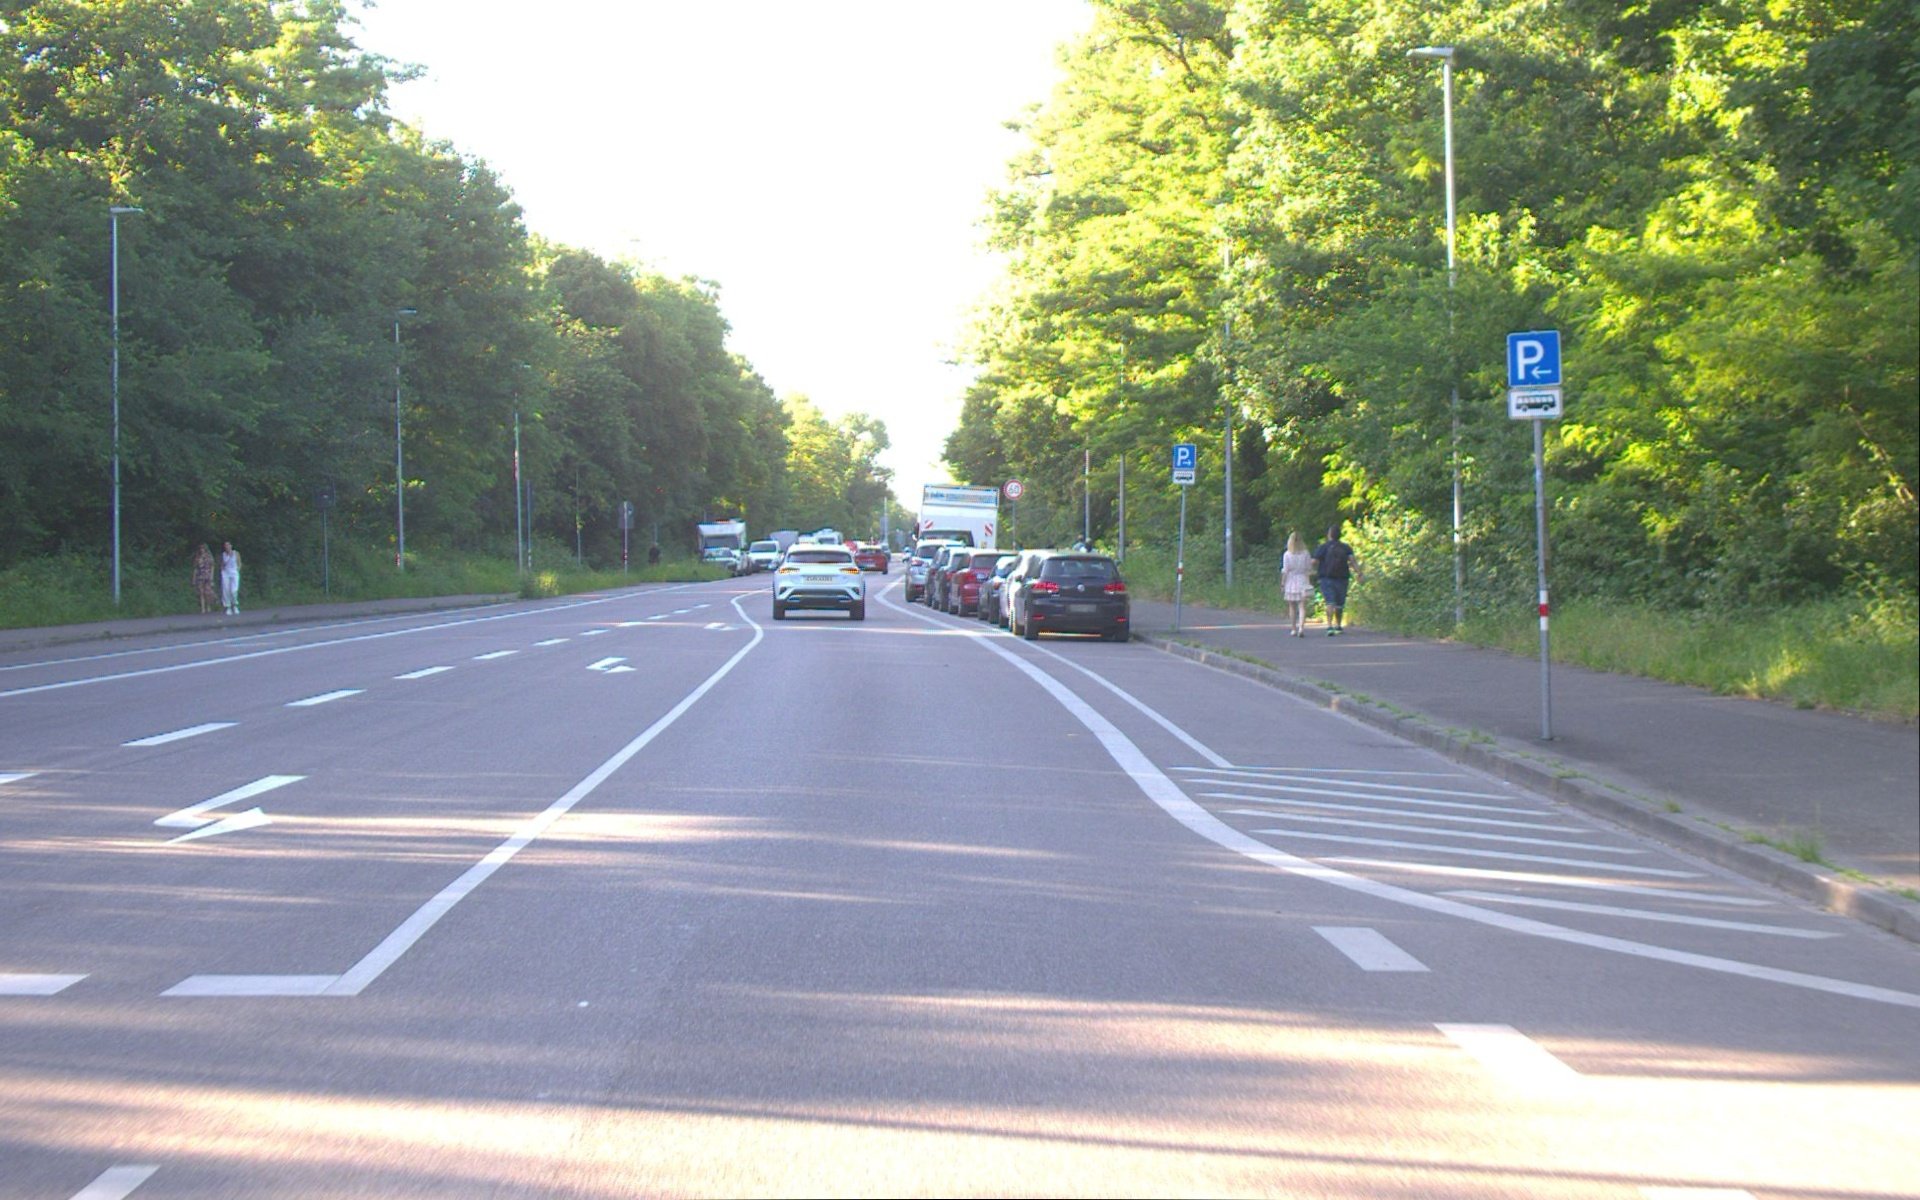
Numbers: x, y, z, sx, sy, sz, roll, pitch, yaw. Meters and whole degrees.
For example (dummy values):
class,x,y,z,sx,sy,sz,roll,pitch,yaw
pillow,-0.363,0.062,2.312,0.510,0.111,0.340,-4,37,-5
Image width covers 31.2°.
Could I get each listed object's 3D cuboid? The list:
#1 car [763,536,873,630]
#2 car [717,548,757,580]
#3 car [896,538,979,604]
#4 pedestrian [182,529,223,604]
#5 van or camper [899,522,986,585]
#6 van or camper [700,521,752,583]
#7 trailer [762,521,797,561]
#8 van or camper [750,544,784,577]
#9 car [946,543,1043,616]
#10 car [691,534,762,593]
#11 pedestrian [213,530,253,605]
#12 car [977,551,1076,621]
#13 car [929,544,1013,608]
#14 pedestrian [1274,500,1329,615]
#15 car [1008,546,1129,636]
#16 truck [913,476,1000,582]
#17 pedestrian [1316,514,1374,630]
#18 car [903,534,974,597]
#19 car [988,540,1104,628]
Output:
class,x,y,z,sx,sy,sz,roll,pitch,yaw
car,-2.824,-0.363,69.015,2.029,1.834,4.029,0,1,0
car,-10.644,-1.752,164.317,1.827,1.471,4.682,-1,1,-3
car,-0.581,-0.733,84.896,1.807,1.514,4.505,2,1,-3
pedestrian,-16.667,-0.738,75.644,0.675,1.647,0.790,0,1,4
van or camper,-0.746,-2.128,155.234,2.442,2.790,6.553,0,1,13
van or camper,-11.668,-2.411,171.794,2.314,2.960,7.112,-2,1,-2
trailer,-11.964,-3.892,227.915,1.993,2.589,4.416,-2,1,0
van or camper,-11.505,-2.354,205.133,1.835,1.905,4.856,-1,1,-1
car,0.719,-0.464,74.090,1.616,1.464,3.725,2,1,-6
car,-6.427,-1.036,95.076,1.807,1.514,4.505,2,1,-3
pedestrian,-15.987,-0.717,75.592,0.675,1.647,0.790,0,1,4
car,1.288,-0.297,68.207,1.628,1.315,3.841,1,1,-4
car,0.235,-0.576,79.618,1.594,1.396,3.799,1,1,-5
pedestrian,5.406,-0.672,54.417,0.674,1.793,0.790,-2,1,-6
car,1.808,-0.182,58.392,1.656,1.447,4.021,0,1,-4
truck,-0.183,-2.429,117.876,2.832,3.485,8.579,0,1,-1
pedestrian,6.109,-0.449,54.606,0.674,1.793,0.953,-2,1,-6
car,-0.539,-0.915,89.597,1.798,1.589,4.029,0,1,0
car,1.535,-0.318,62.671,1.737,1.519,4.360,0,1,-3
